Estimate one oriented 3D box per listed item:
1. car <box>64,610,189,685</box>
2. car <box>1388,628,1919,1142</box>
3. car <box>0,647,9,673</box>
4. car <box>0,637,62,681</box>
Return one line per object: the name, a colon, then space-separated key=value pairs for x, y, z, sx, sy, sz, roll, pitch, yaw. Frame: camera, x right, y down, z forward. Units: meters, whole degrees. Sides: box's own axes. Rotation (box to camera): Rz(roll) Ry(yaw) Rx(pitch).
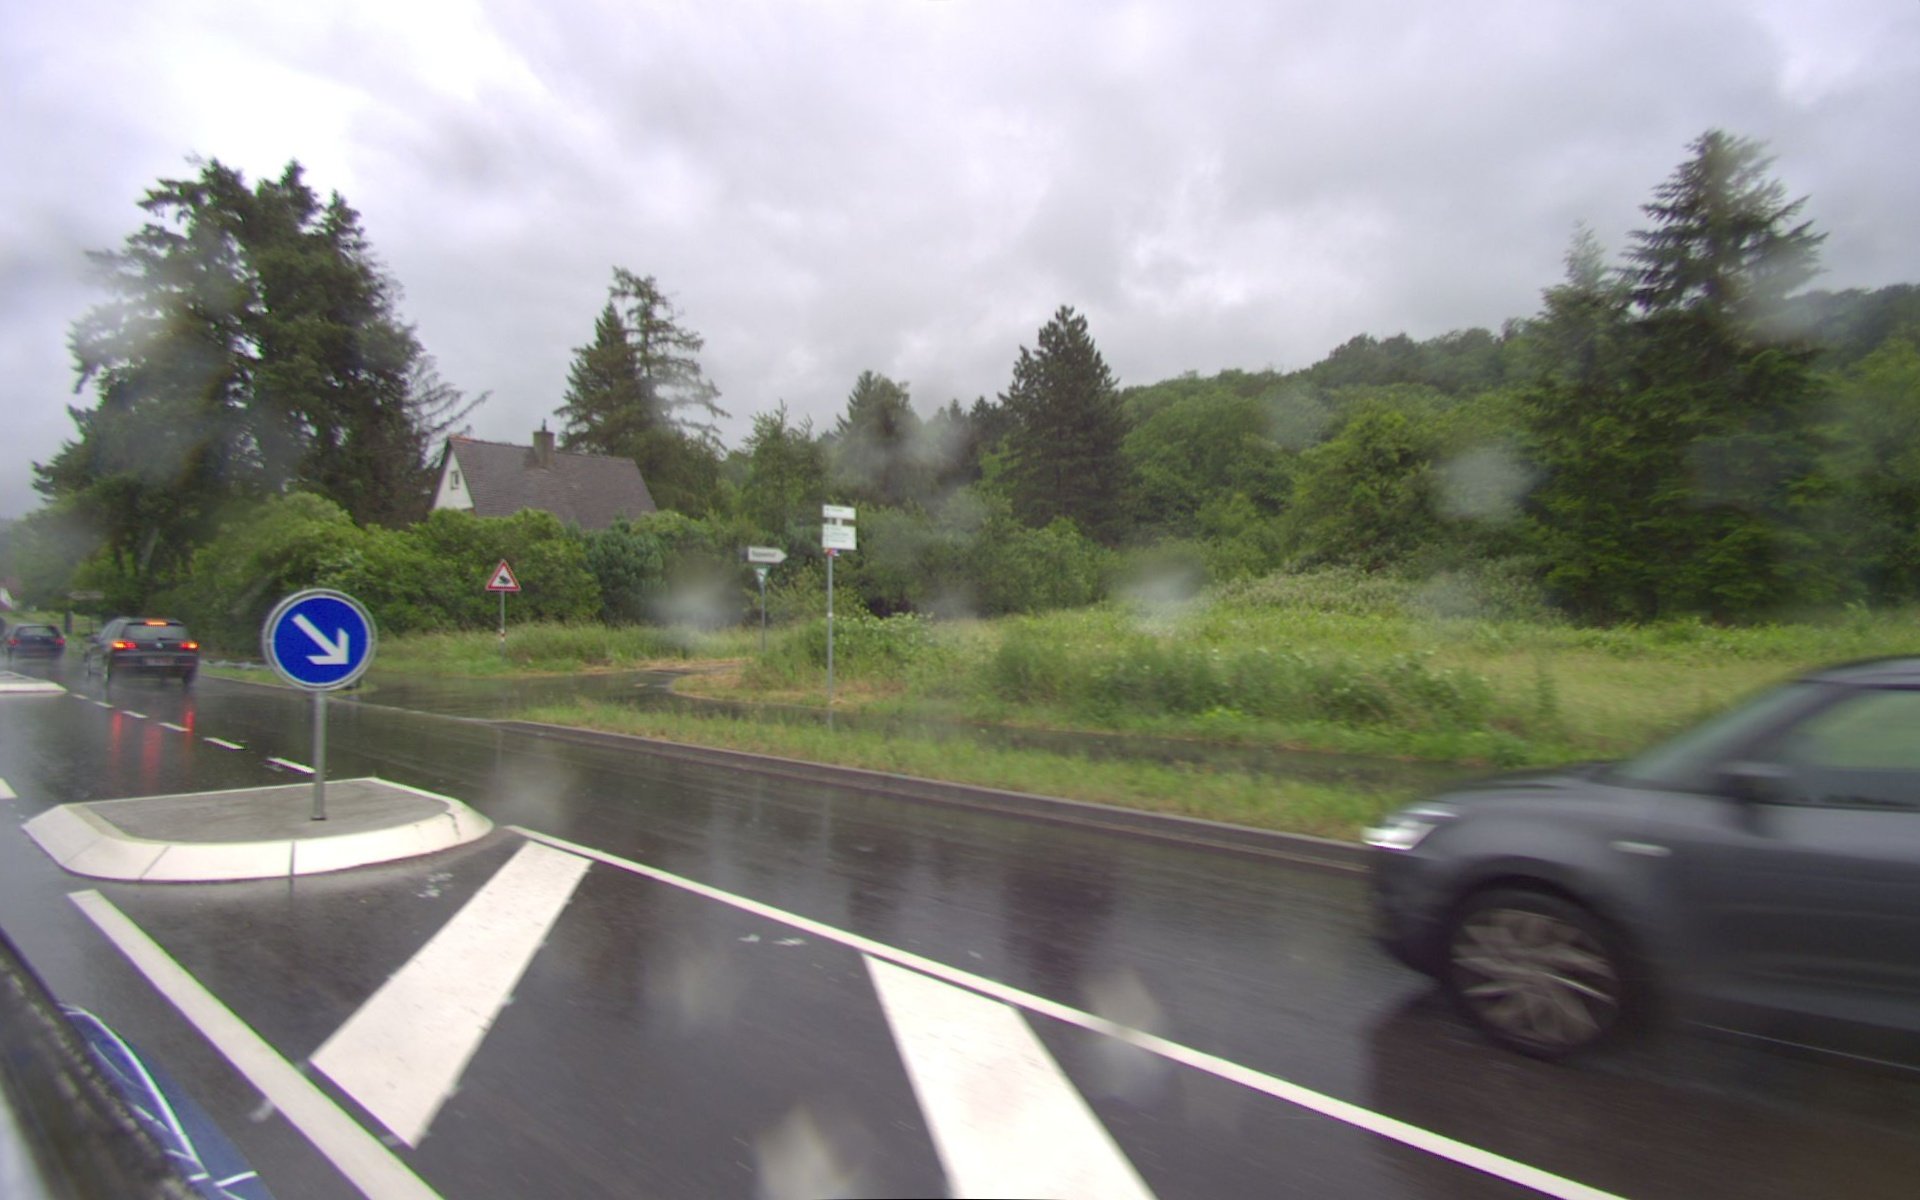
car: x=-21.047 y=1.174 z=25.498 sx=4.265 sy=1.731 sz=1.723 roll=-1 pitch=-3 yaw=41
car: x=3.551 y=0.825 z=3.142 sx=3.767 sy=1.412 sz=1.678 roll=-1 pitch=-4 yaw=43
car: x=-55.281 y=3.422 z=57.272 sx=4.222 sy=1.393 sz=1.666 roll=-2 pitch=2 yaw=41
car: x=-35.719 y=2.226 z=38.579 sx=3.681 sy=1.456 sz=1.723 roll=-2 pitch=2 yaw=41
